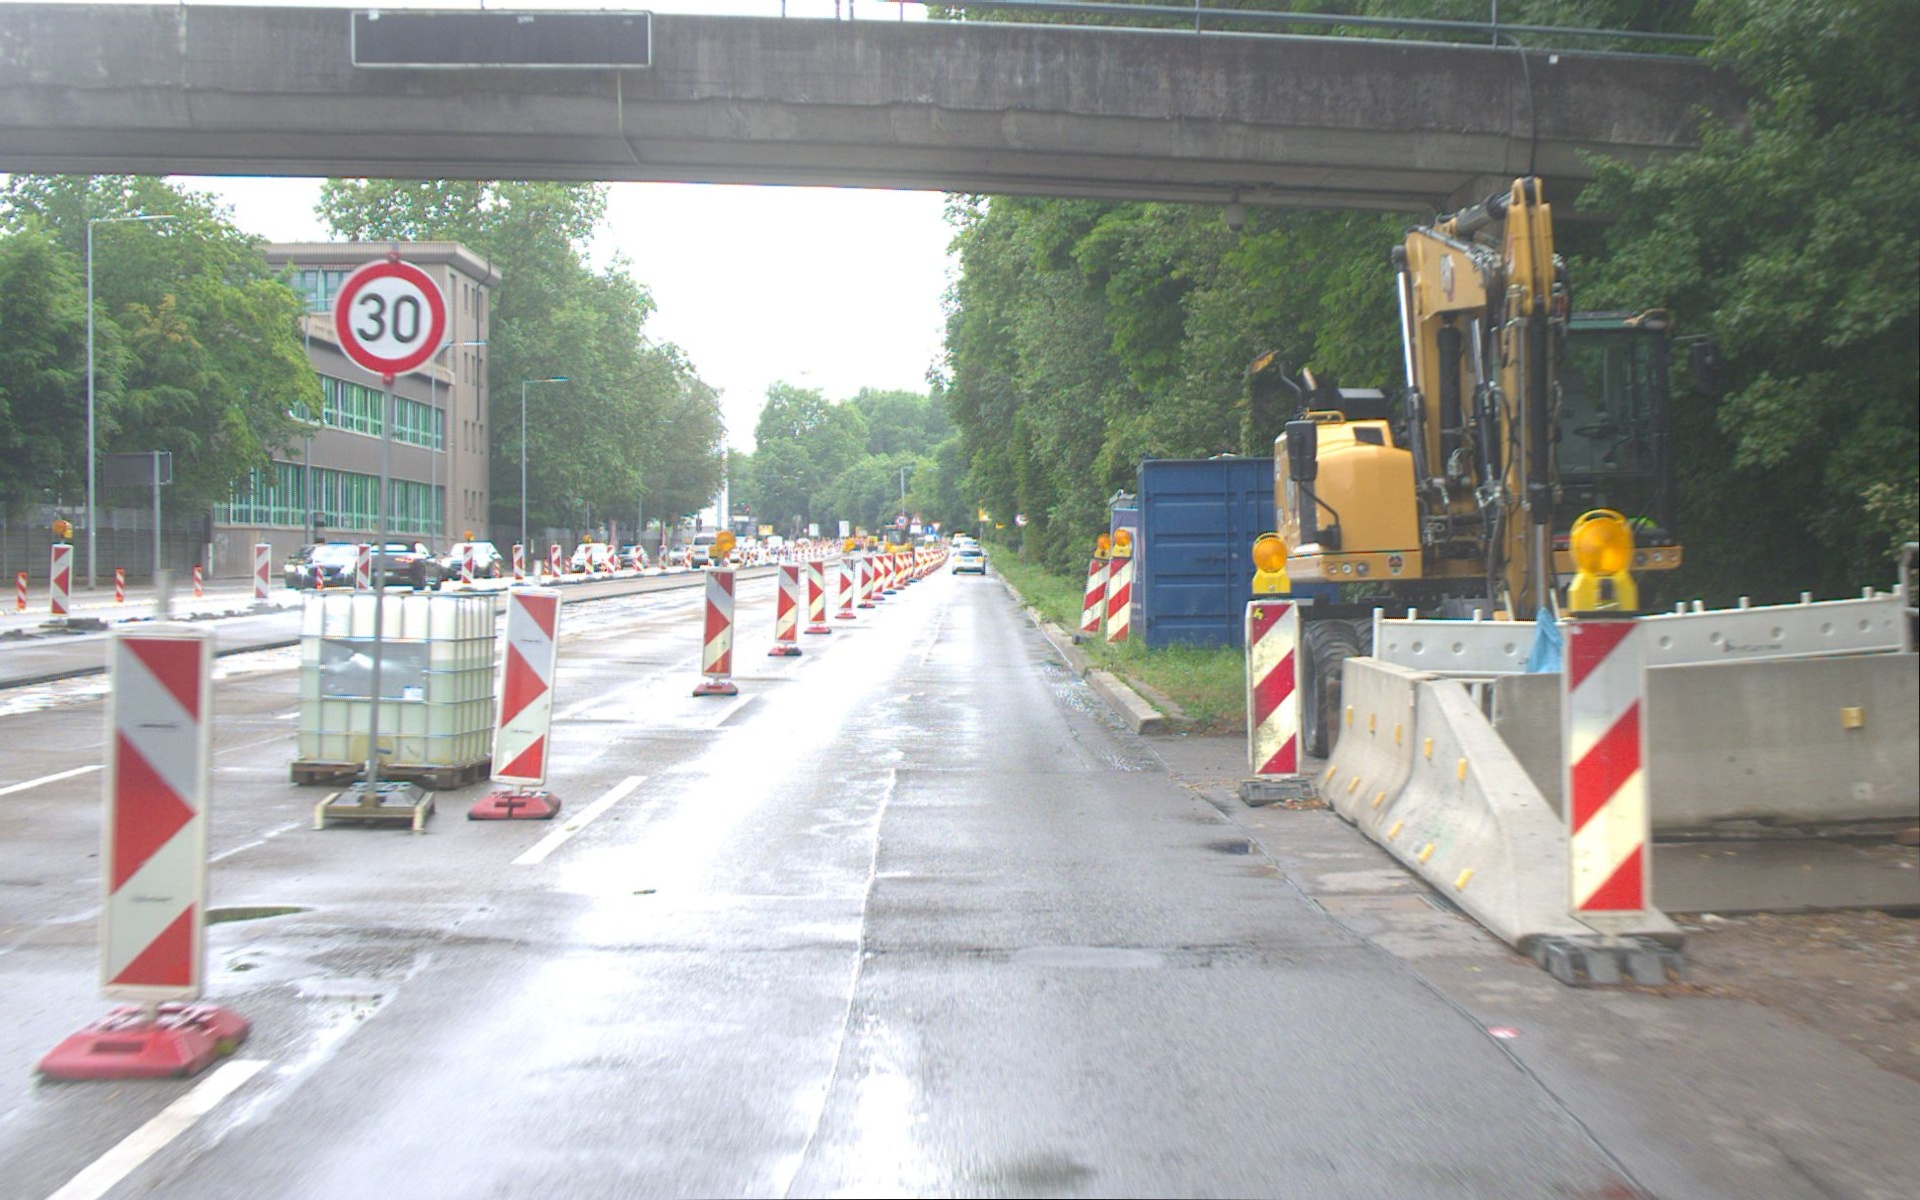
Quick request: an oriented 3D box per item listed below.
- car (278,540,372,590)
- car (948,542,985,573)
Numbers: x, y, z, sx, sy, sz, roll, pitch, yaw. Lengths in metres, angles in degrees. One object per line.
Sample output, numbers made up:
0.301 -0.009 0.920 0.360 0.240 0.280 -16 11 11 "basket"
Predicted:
-18.717 -1.022 101.457 1.971 1.437 4.000 0 0 1 "car"
0.333 -2.330 188.156 1.993 1.634 4.000 0 0 0 "car"
